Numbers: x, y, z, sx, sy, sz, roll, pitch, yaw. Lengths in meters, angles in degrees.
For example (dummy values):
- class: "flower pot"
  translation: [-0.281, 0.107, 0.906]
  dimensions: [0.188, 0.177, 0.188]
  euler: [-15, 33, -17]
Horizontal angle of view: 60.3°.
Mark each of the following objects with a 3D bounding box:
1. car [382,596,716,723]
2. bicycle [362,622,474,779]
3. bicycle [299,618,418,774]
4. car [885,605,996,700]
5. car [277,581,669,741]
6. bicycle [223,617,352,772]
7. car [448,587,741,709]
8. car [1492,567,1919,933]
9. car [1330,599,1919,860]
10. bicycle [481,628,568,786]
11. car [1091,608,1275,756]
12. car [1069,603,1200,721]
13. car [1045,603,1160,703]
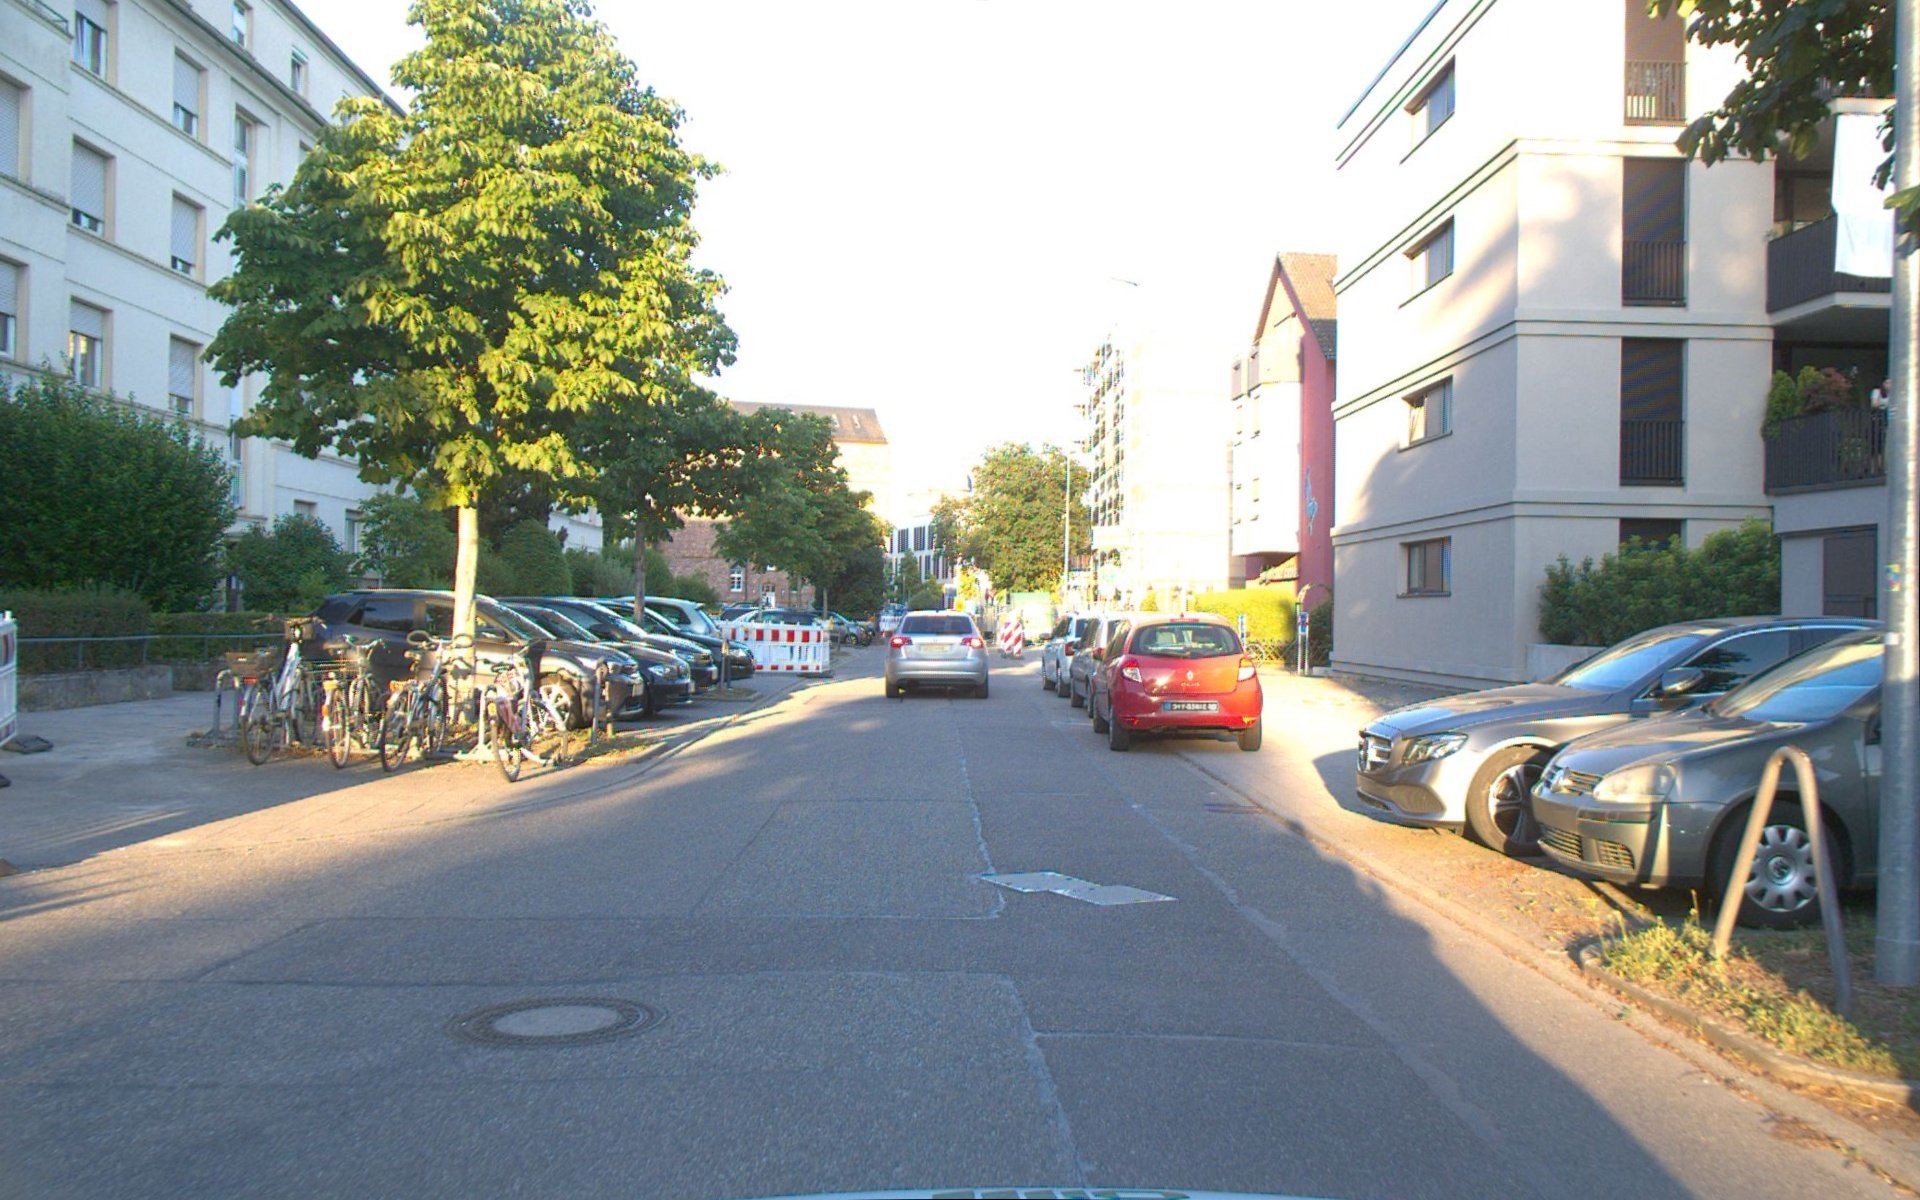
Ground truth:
- class: "car"
  translation: [-5.311, 0.750, 21.802]
  dimensions: [3.907, 1.506, 1.999]
  euler: [1, 0, -3]
- class: "bicycle"
  translation: [-4.737, 0.836, 14.549]
  dimensions: [0.398, 1.249, 1.986]
  euler: [1, 0, -3]
- class: "bicycle"
  translation: [-5.269, 0.799, 14.590]
  dimensions: [0.398, 1.249, 1.986]
  euler: [1, 0, -3]
- class: "car"
  translation: [-0.335, 0.858, 28.446]
  dimensions: [1.771, 1.514, 3.999]
  euler: [0, -1, -1]
- class: "car"
  translation: [-5.470, 0.668, 19.021]
  dimensions: [3.907, 1.654, 1.999]
  euler: [1, 0, -3]
- class: "bicycle"
  translation: [-5.912, 0.789, 14.629]
  dimensions: [0.398, 1.249, 1.986]
  euler: [1, 0, -3]
- class: "car"
  translation: [-5.300, 0.679, 24.404]
  dimensions: [3.907, 1.633, 1.872]
  euler: [1, 0, -3]
- class: "car"
  translation: [5.107, 0.733, 8.786]
  dimensions: [3.863, 1.678, 1.974]
  euler: [1, 0, -6]
- class: "car"
  translation: [4.773, 0.809, 11.240]
  dimensions: [4.069, 1.599, 1.796]
  euler: [0, 0, -6]
- class: "bicycle"
  translation: [-3.795, 0.891, 14.504]
  dimensions: [0.398, 1.249, 1.985]
  euler: [1, 0, -6]
- class: "car"
  translation: [2.511, 0.880, 19.363]
  dimensions: [1.694, 1.509, 3.558]
  euler: [1, 0, 1]
- class: "car"
  translation: [2.556, 0.877, 24.868]
  dimensions: [1.629, 1.601, 3.441]
  euler: [1, 0, 1]
- class: "car"
  translation: [2.507, 0.898, 29.750]
  dimensions: [1.771, 1.641, 3.581]
  euler: [1, 0, 1]
